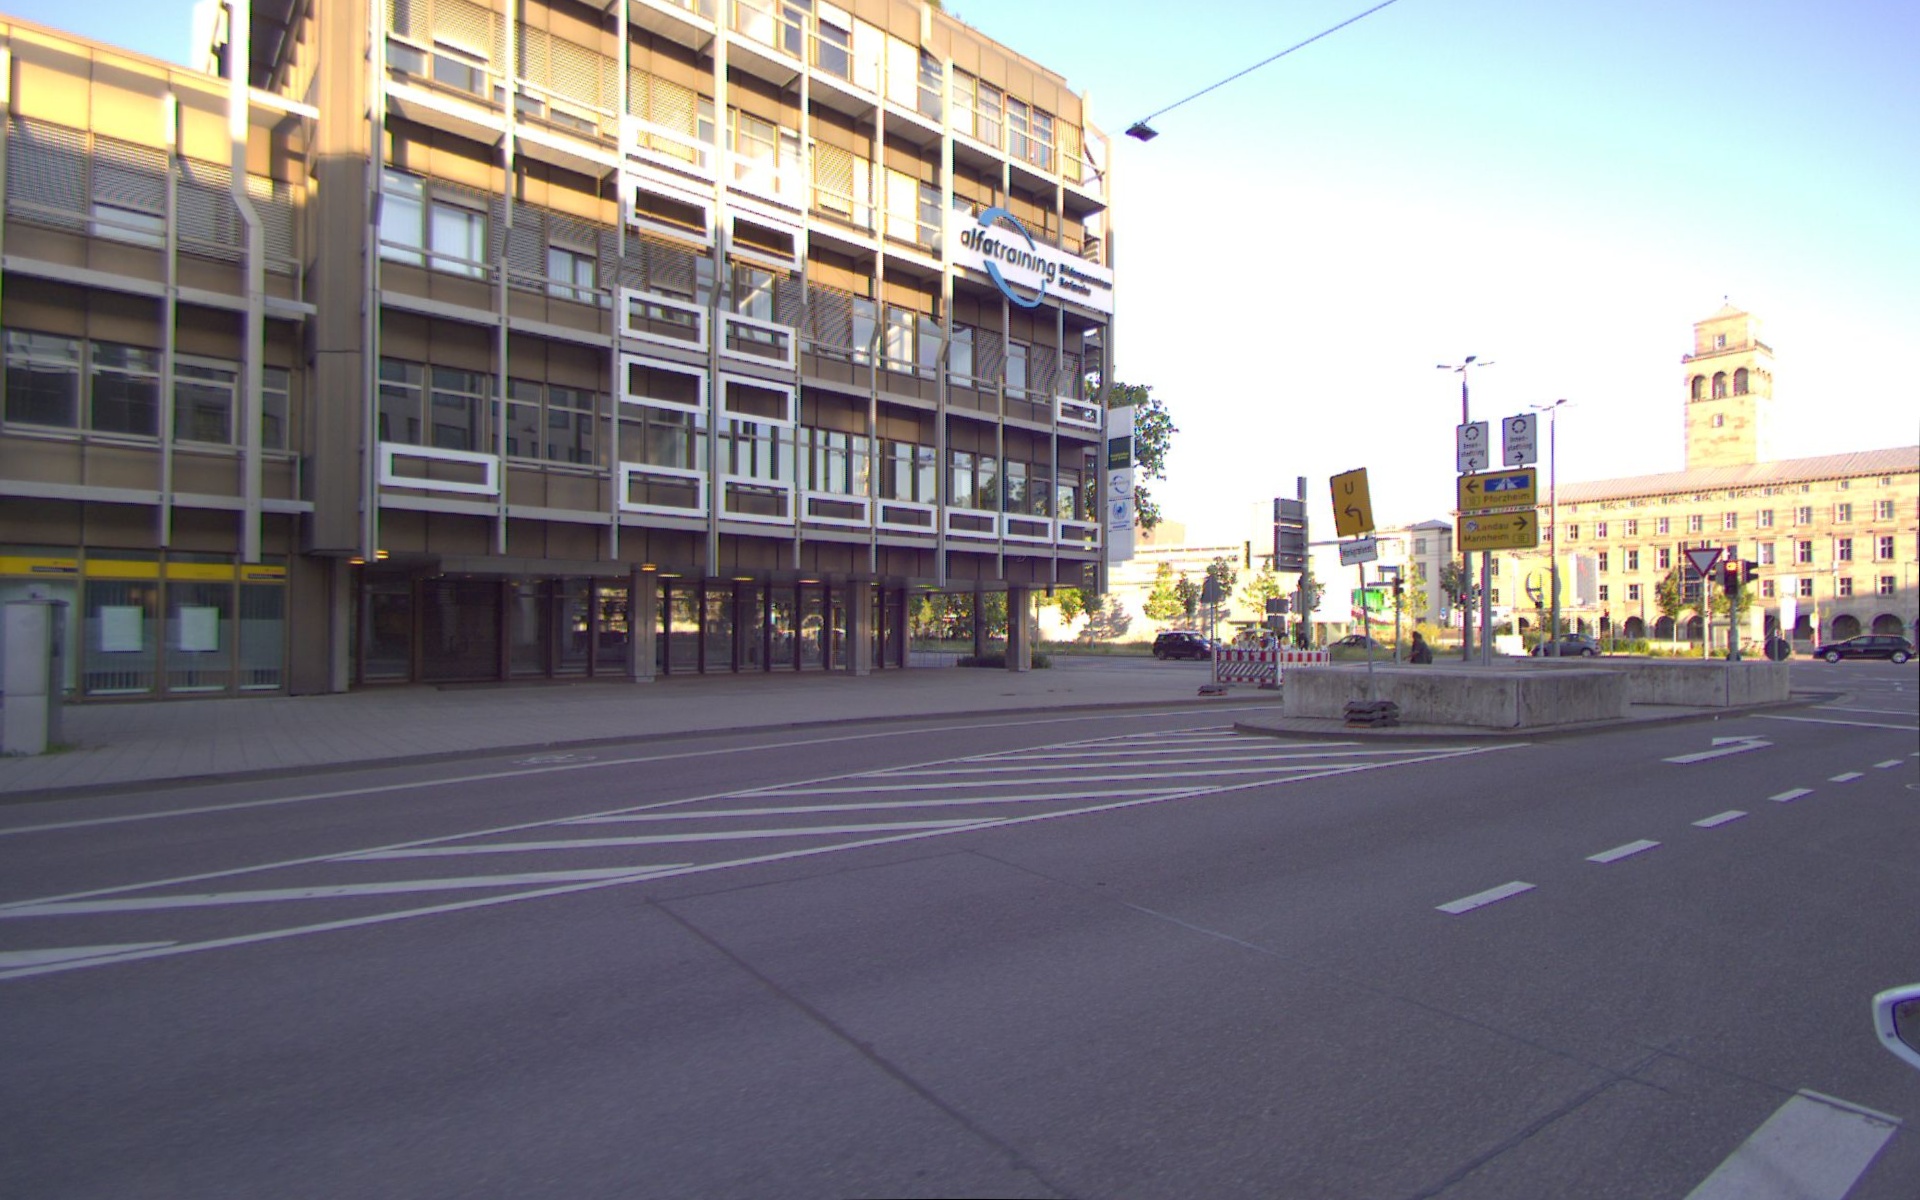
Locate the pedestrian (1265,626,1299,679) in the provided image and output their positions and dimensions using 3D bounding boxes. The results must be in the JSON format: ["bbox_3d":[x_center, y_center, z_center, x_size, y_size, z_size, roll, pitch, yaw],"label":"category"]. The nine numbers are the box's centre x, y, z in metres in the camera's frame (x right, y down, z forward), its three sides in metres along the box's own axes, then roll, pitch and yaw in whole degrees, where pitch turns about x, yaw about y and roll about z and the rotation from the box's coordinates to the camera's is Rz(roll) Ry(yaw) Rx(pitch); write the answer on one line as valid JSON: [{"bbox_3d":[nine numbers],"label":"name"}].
[{"bbox_3d":[11.143,1.813,34.793,0.857,1.800,0.732,1,-4,-41],"label":"pedestrian"}]

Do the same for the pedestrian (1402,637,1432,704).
[{"bbox_3d":[12.753,1.947,28.026,0.727,1.800,0.862,-1,-2,27],"label":"pedestrian"}]

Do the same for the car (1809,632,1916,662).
[{"bbox_3d":[46.146,2.388,51.480,3.926,1.472,1.539,-1,-2,38],"label":"car"}]

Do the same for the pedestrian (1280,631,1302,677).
[{"bbox_3d":[13.263,2.156,40.220,0.726,1.800,0.863,-3,-4,21],"label":"pedestrian"}]

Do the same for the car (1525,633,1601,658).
[{"bbox_3d":[36.456,2.721,60.764,1.535,1.472,3.679,1,-2,-43],"label":"car"}]

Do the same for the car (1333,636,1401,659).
[{"bbox_3d":[28.090,3.256,69.367,1.816,1.514,3.948,1,-2,-44],"label":"car"}]

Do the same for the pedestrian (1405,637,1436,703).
[{"bbox_3d":[13.148,1.979,28.681,0.727,1.800,0.862,0,-1,30],"label":"pedestrian"}]

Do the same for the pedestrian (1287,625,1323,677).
[{"bbox_3d":[12.085,1.787,35.189,0.854,1.800,0.734,1,-4,-34],"label":"pedestrian"}]

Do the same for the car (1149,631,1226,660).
[{"bbox_3d":[13.215,2.632,58.444,4.138,1.613,1.686,-2,-2,45],"label":"car"}]

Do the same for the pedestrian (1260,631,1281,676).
[{"bbox_3d":[12.668,2.174,40.987,0.726,1.800,0.864,-2,-3,16],"label":"pedestrian"}]

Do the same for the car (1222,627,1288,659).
[{"bbox_3d":[16.134,2.340,54.999,3.094,1.707,1.604,-1,-2,40],"label":"car"}]
